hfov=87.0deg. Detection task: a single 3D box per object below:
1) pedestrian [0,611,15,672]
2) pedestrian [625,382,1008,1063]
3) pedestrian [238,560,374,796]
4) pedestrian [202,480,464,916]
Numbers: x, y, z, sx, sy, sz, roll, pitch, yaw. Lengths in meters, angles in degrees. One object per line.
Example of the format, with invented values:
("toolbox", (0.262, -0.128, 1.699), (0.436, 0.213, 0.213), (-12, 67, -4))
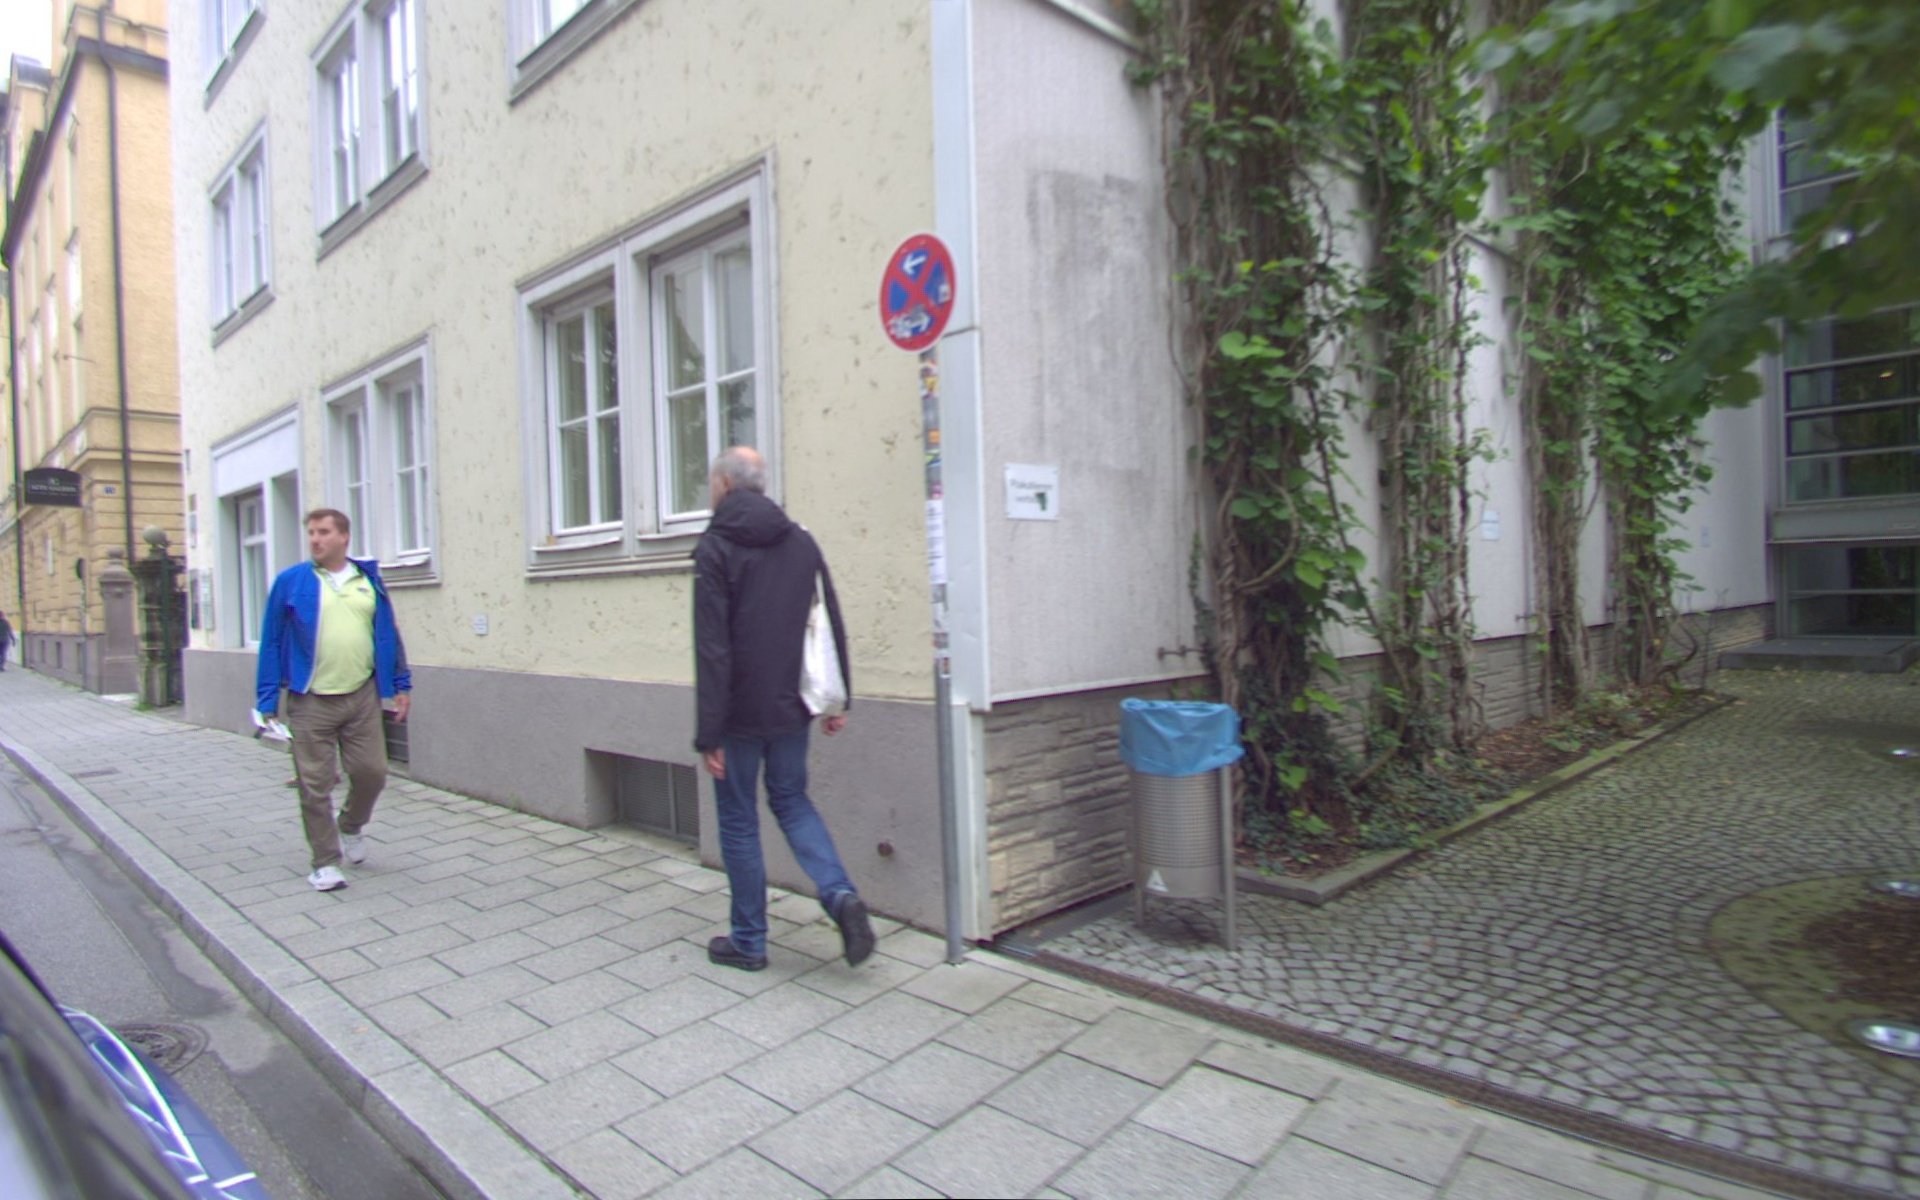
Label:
("pedestrian", (-27.145, 1.188, 28.407), (0.929, 1.678, 0.705), (-2, 3, 43))
("pedestrian", (-0.544, 0.329, 3.522), (0.856, 1.895, 1.138), (-3, 1, -32))
("pedestrian", (-5.010, 0.561, 7.750), (0.723, 1.689, 0.640), (-2, 1, 42))
("pedestrian", (-3.087, 0.414, 4.964), (1.077, 1.868, 0.749), (-2, 2, 43))
